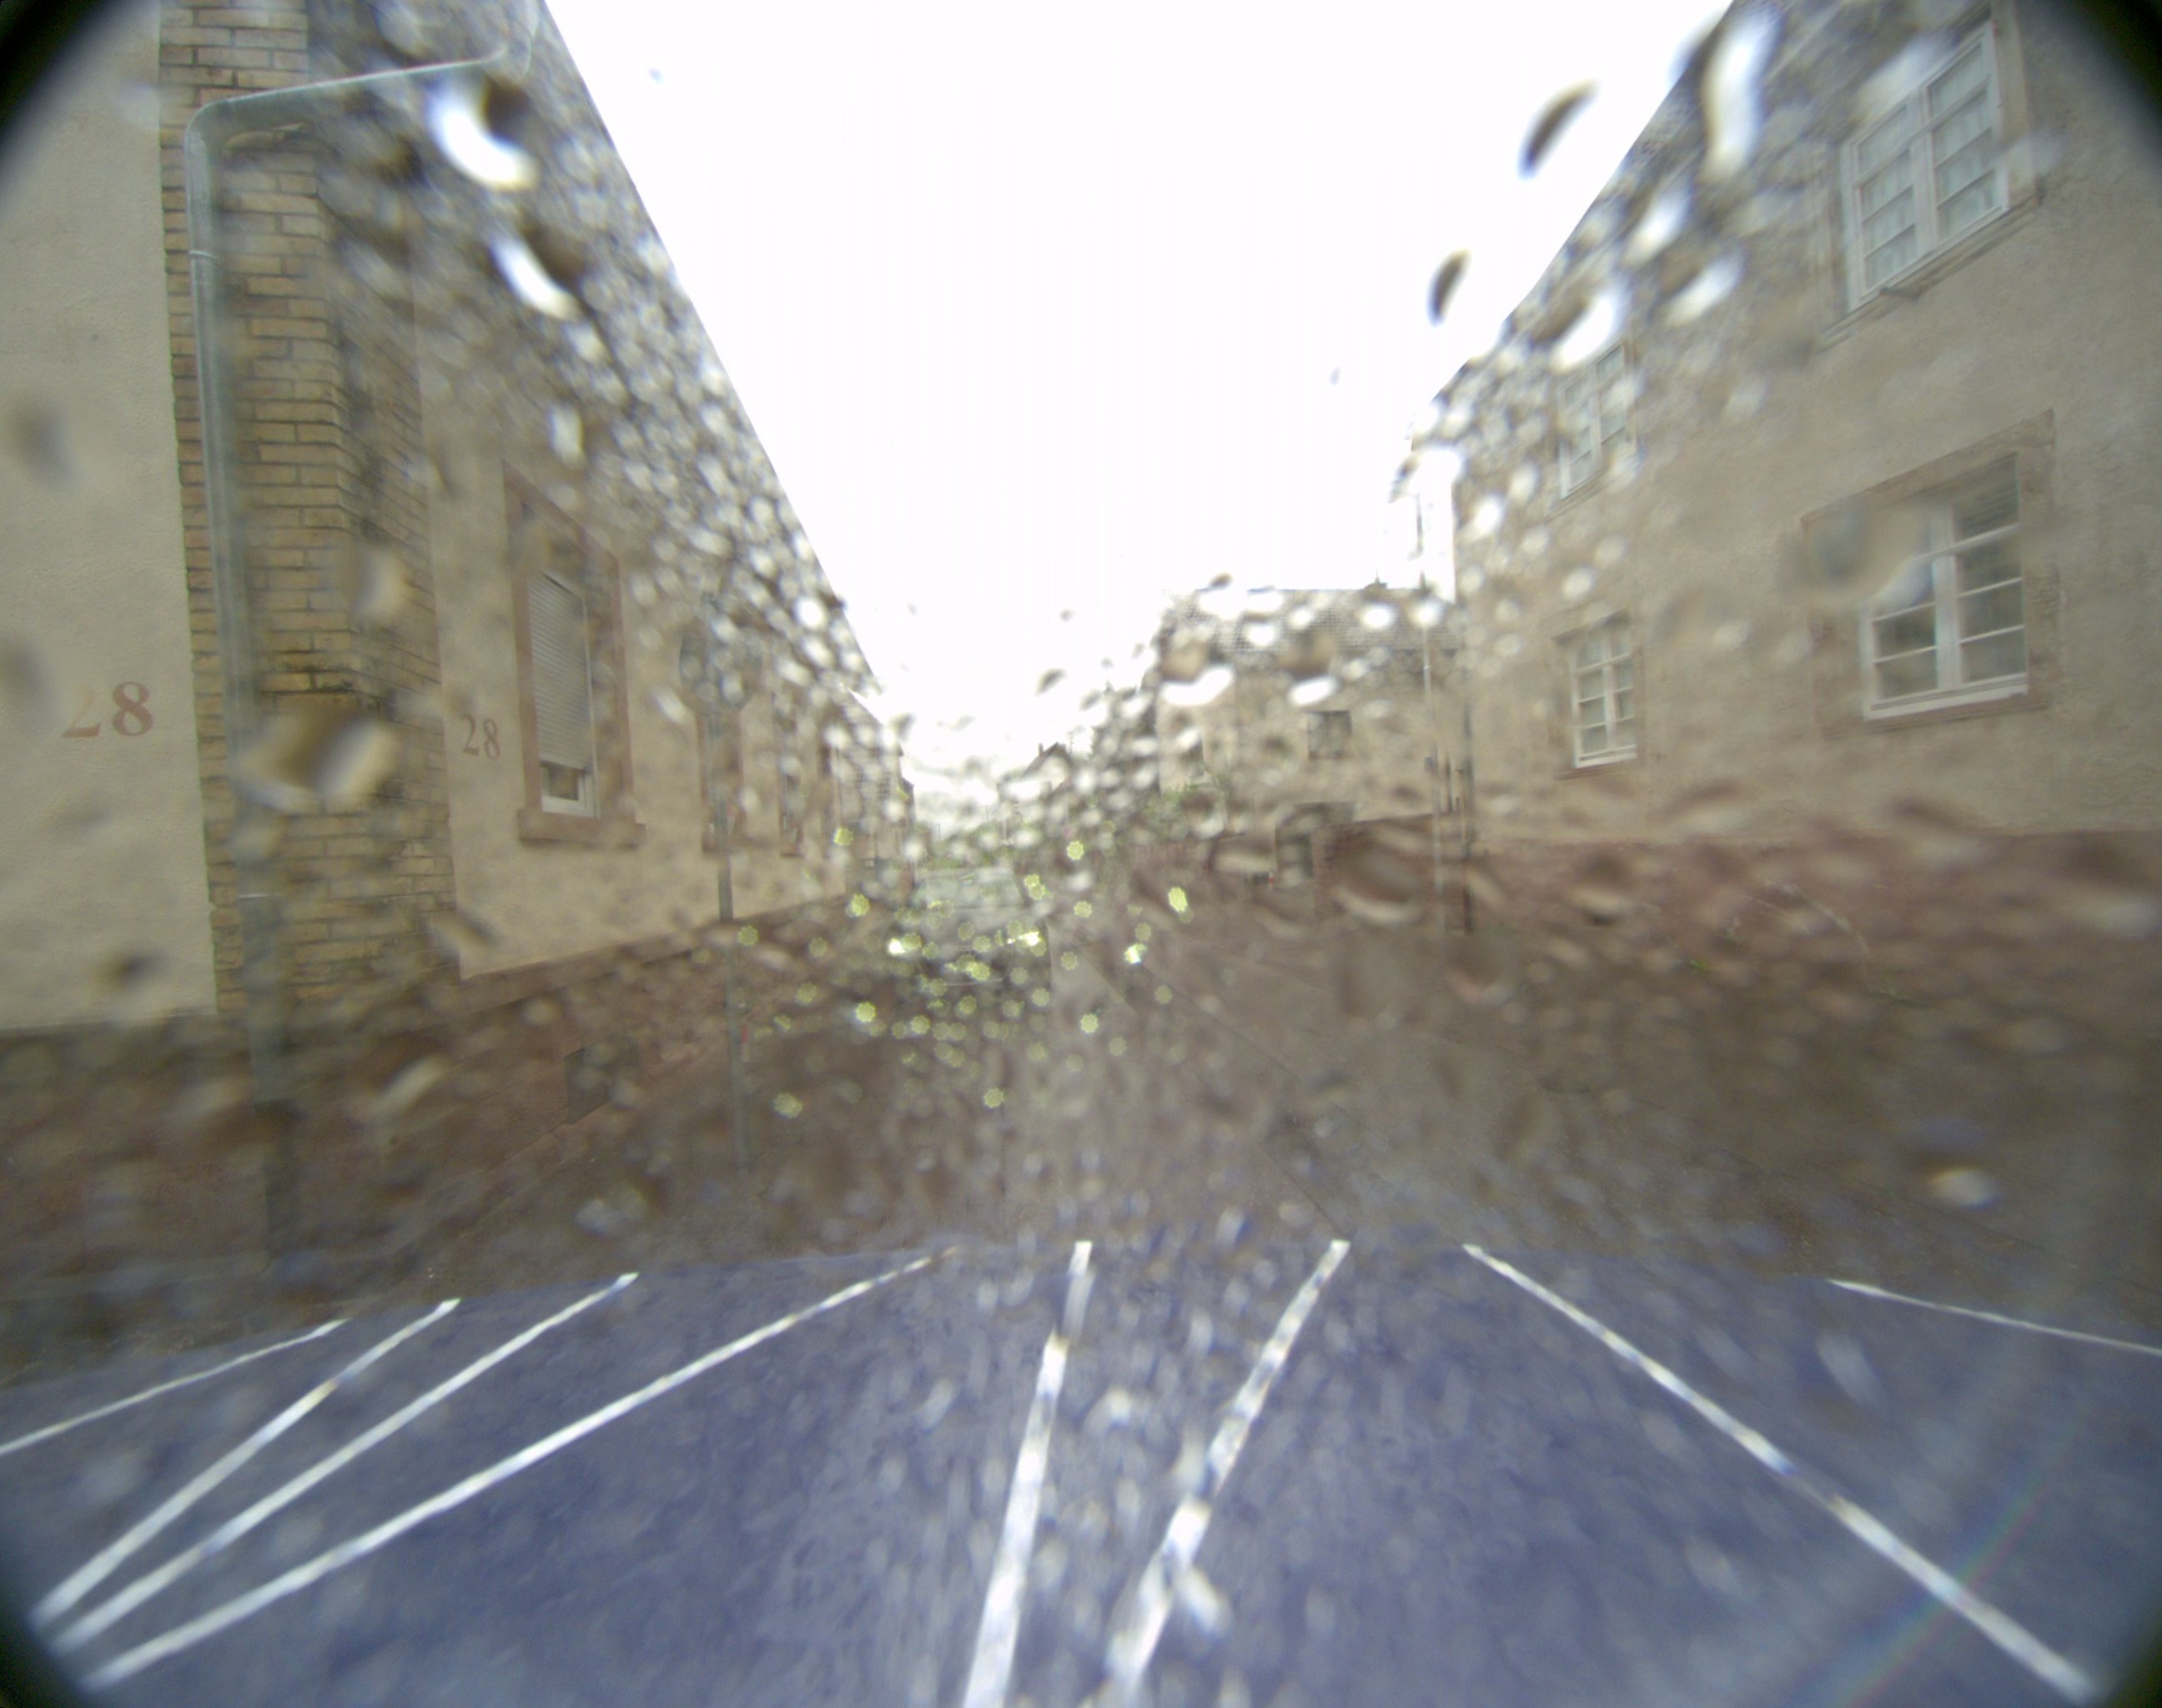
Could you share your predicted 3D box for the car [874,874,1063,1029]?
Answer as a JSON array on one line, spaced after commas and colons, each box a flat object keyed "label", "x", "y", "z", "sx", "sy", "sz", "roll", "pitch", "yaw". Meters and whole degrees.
[{"label": "car", "x": -1.517, "y": 0.982, "z": 9.417, "sx": 1.782, "sy": 1.348, "sz": 4.184, "roll": -2, "pitch": 0, "yaw": -12}]

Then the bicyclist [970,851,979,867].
[{"label": "bicyclist", "x": -12.364, "y": 0.598, "z": 88.176, "sx": 0.659, "sy": 1.759, "sz": 0.702, "roll": -5, "pitch": -1, "yaw": -19}]

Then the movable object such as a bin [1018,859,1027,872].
[{"label": "movable object such as a bin", "x": -4.603, "y": 0.896, "z": 59.784, "sx": 0.540, "sy": 0.925, "sz": 0.543, "roll": -5, "pitch": 2, "yaw": -17}]

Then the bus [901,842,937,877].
[{"label": "bus", "x": -18.351, "y": 0.628, "z": 85.568, "sx": 3.444, "sy": 3.392, "sz": 13.854, "roll": -4, "pitch": 1, "yaw": -13}]

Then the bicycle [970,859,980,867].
[{"label": "bicycle", "x": -12.293, "y": 1.026, "z": 88.105, "sx": 0.664, "sy": 0.865, "sz": 1.932, "roll": -5, "pitch": -1, "yaw": -18}]

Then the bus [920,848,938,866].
[{"label": "bus", "x": -28.360, "y": 0.545, "z": 142.126, "sx": 2.816, "sy": 2.922, "sz": 11.930, "roll": -5, "pitch": 1, "yaw": -11}]
